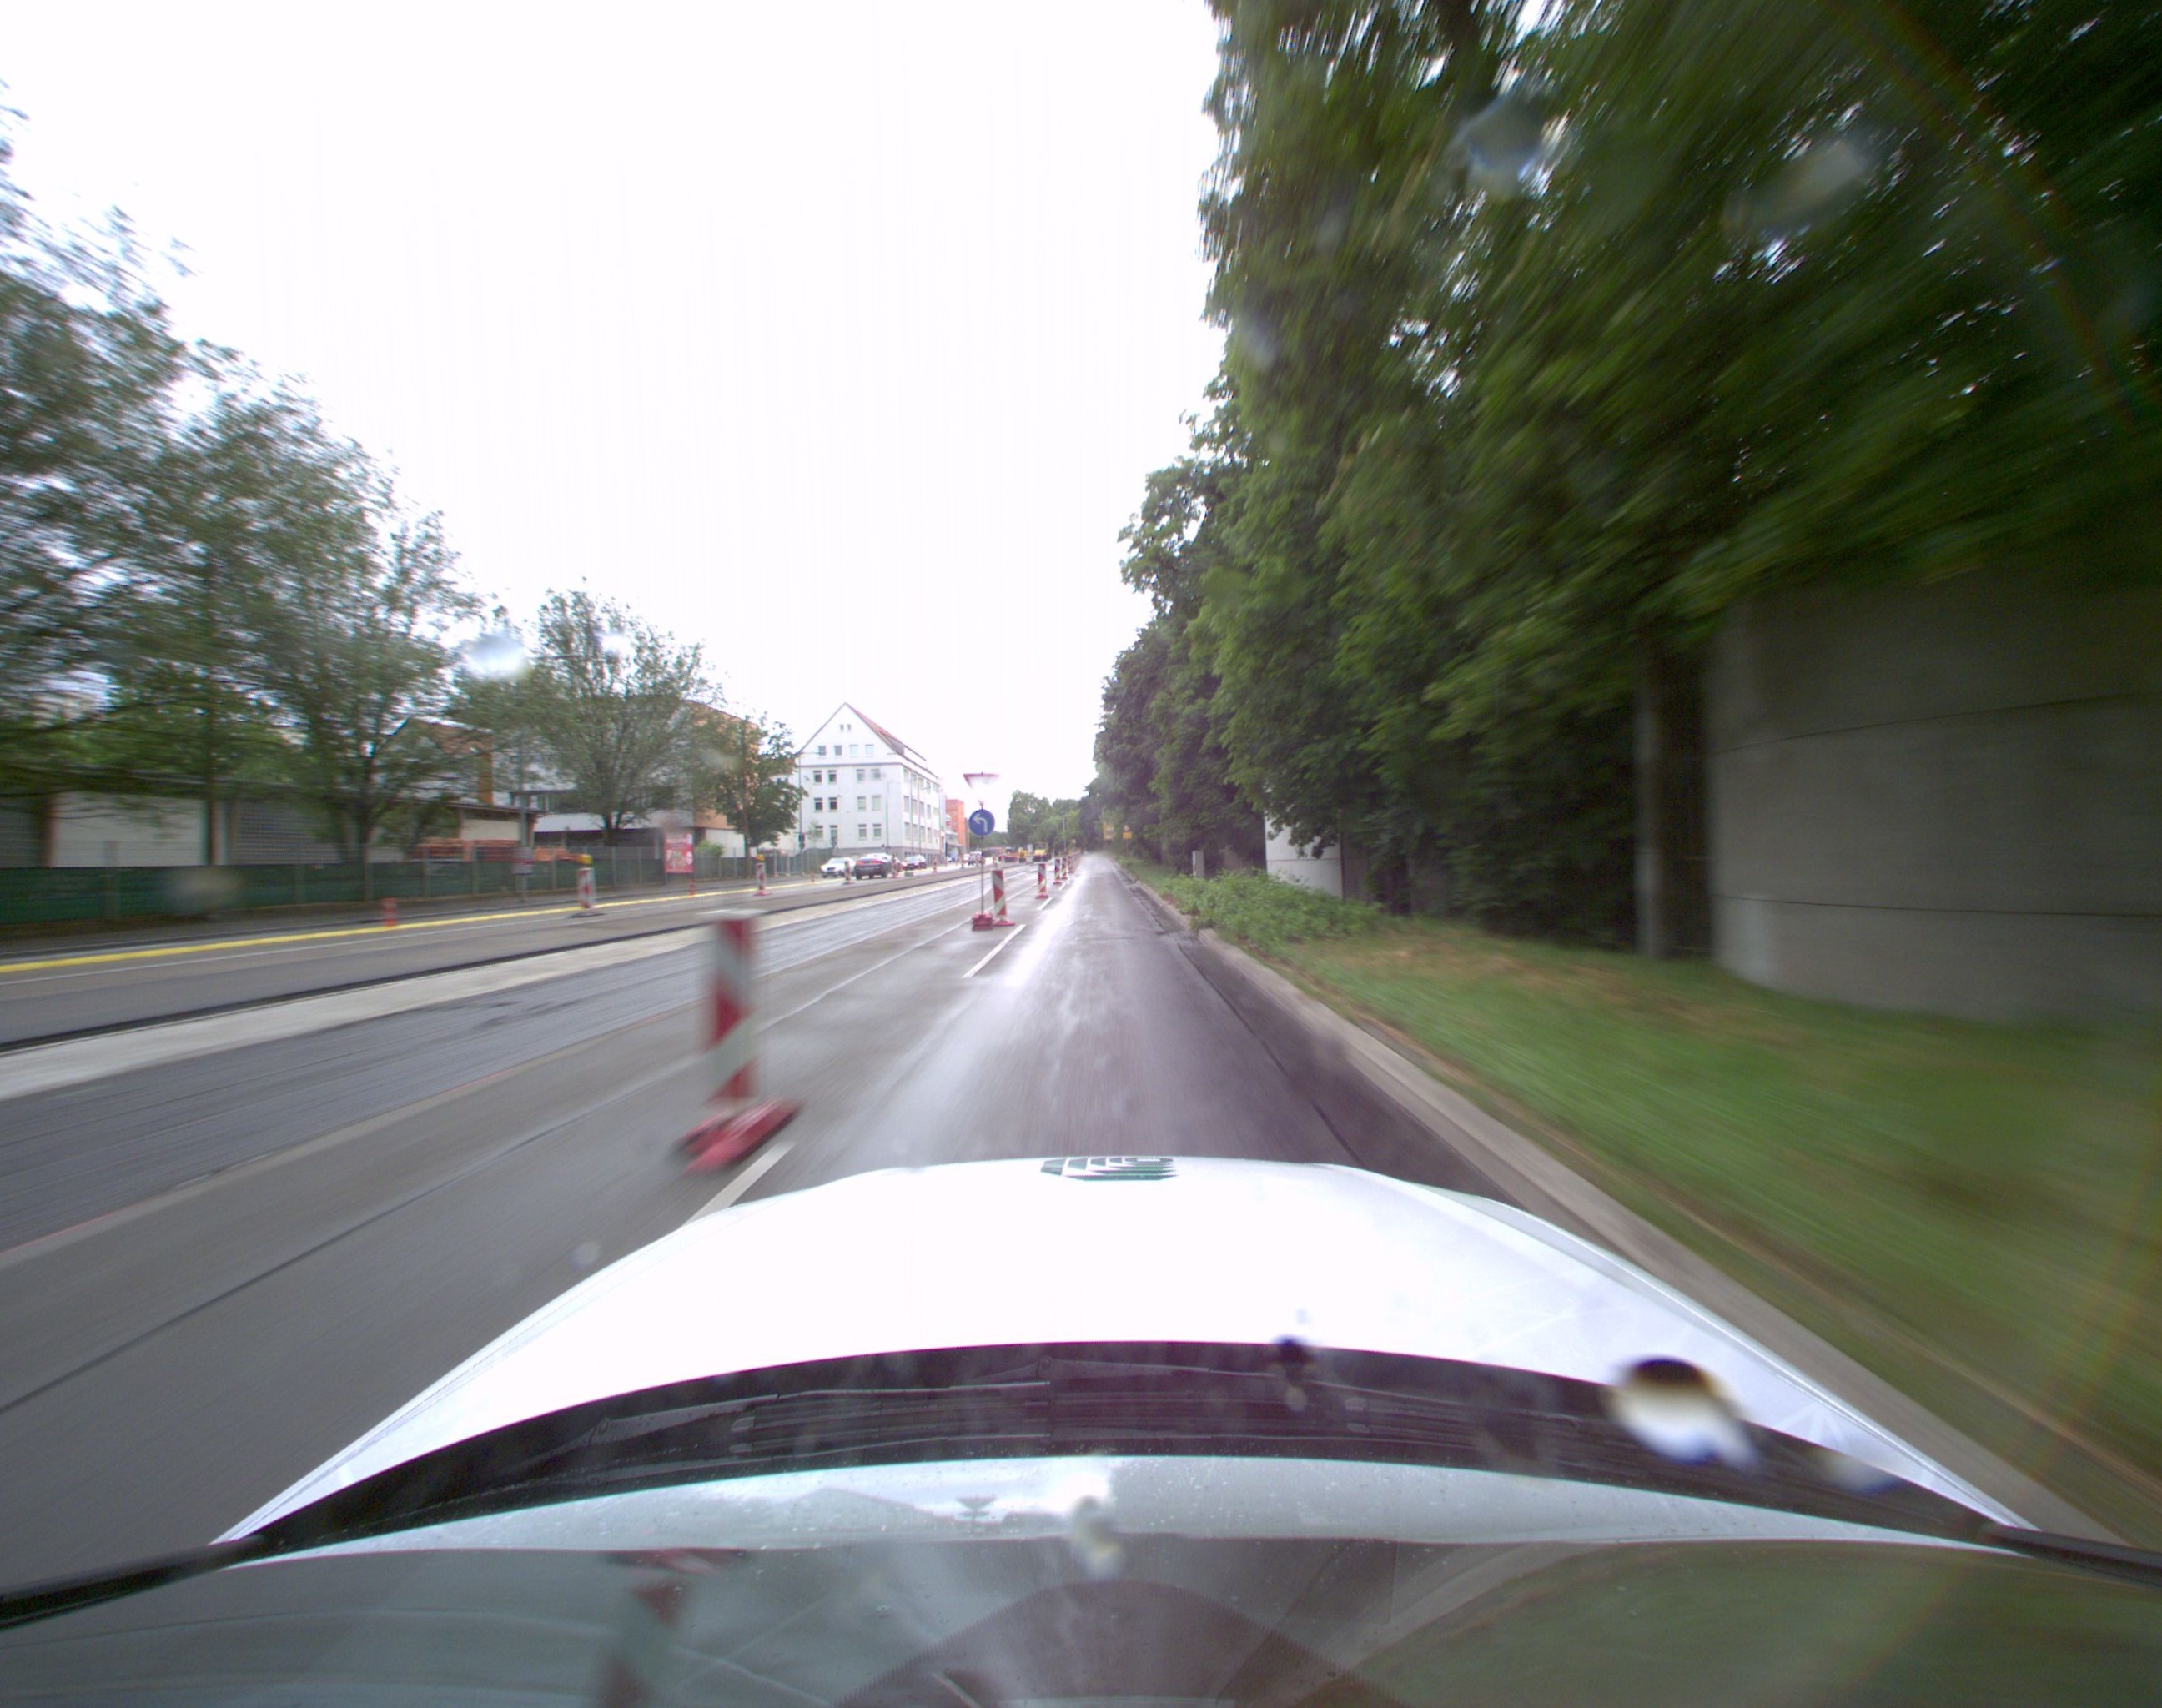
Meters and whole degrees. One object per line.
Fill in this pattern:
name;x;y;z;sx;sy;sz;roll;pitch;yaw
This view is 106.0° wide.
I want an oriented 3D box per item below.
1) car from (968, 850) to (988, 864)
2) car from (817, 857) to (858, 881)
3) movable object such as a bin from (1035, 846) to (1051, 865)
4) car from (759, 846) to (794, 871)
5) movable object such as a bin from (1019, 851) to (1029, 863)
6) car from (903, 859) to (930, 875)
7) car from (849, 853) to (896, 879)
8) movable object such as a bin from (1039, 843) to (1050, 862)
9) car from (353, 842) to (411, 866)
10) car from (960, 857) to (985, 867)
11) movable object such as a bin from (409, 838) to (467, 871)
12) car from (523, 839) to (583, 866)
car;-12.984;0.386;102.848;1.885;1.650;4.397;-1;0;2
car;-19.931;1.202;66.856;1.852;1.706;4.366;-4;0;1
movable object such as a bin;-5.472;0.210;117.727;1.896;2.609;5.383;-2;0;1
car;-27.625;0.411;74.087;1.605;2.170;4.000;-2;0;0
movable object such as a bin;-7.639;0.381;109.147;1.080;1.644;2.438;-2;0;0
car;-16.760;1.327;83.158;1.852;1.475;3.733;-4;0;1
car;-13.951;0.791;54.761;1.885;1.650;4.397;-1;0;2
movable object such as a bin;-6.027;-0.307;133.163;1.461;3.008;3.723;-4;0;-1
car;-34.208;0.001;39.815;3.972;1.062;1.764;-2;0;44
car;-17.968;1.297;134.585;3.827;1.368;1.539;-3;0;-43
movable object such as a bin;-32.691;0.046;41.371;3.972;1.527;1.764;-2;0;44
car;-33.129;-0.089;51.075;3.971;1.527;2.013;-2;0;39
